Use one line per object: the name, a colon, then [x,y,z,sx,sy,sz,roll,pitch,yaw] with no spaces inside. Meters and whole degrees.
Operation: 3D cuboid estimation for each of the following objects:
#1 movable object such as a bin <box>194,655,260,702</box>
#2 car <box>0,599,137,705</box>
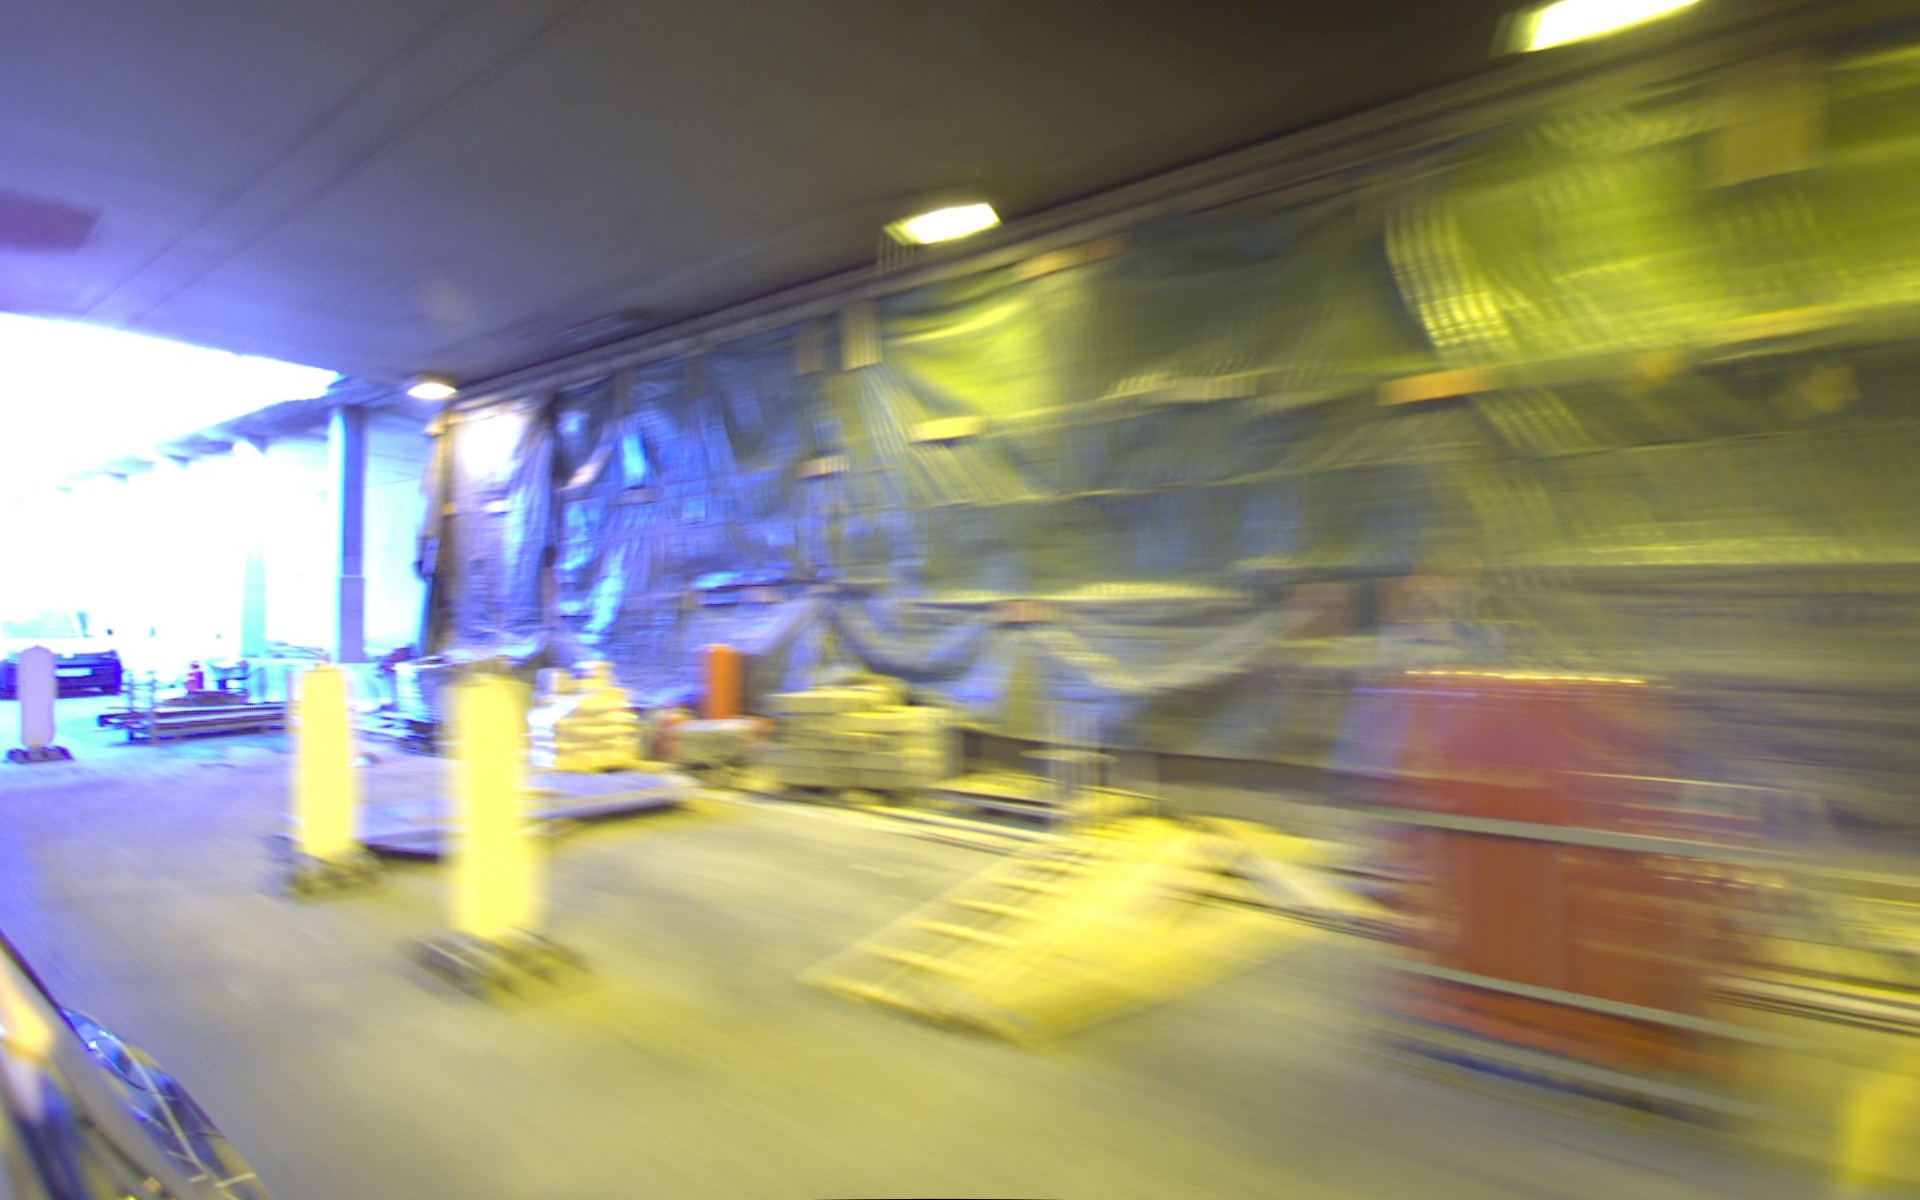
movable object such as a bin: [-12.931,1.374,17.854,1.029,0.747,0.645,1,0,35]
car: [-17.332,0.875,19.020,4.425,1.789,1.832,0,0,36]
